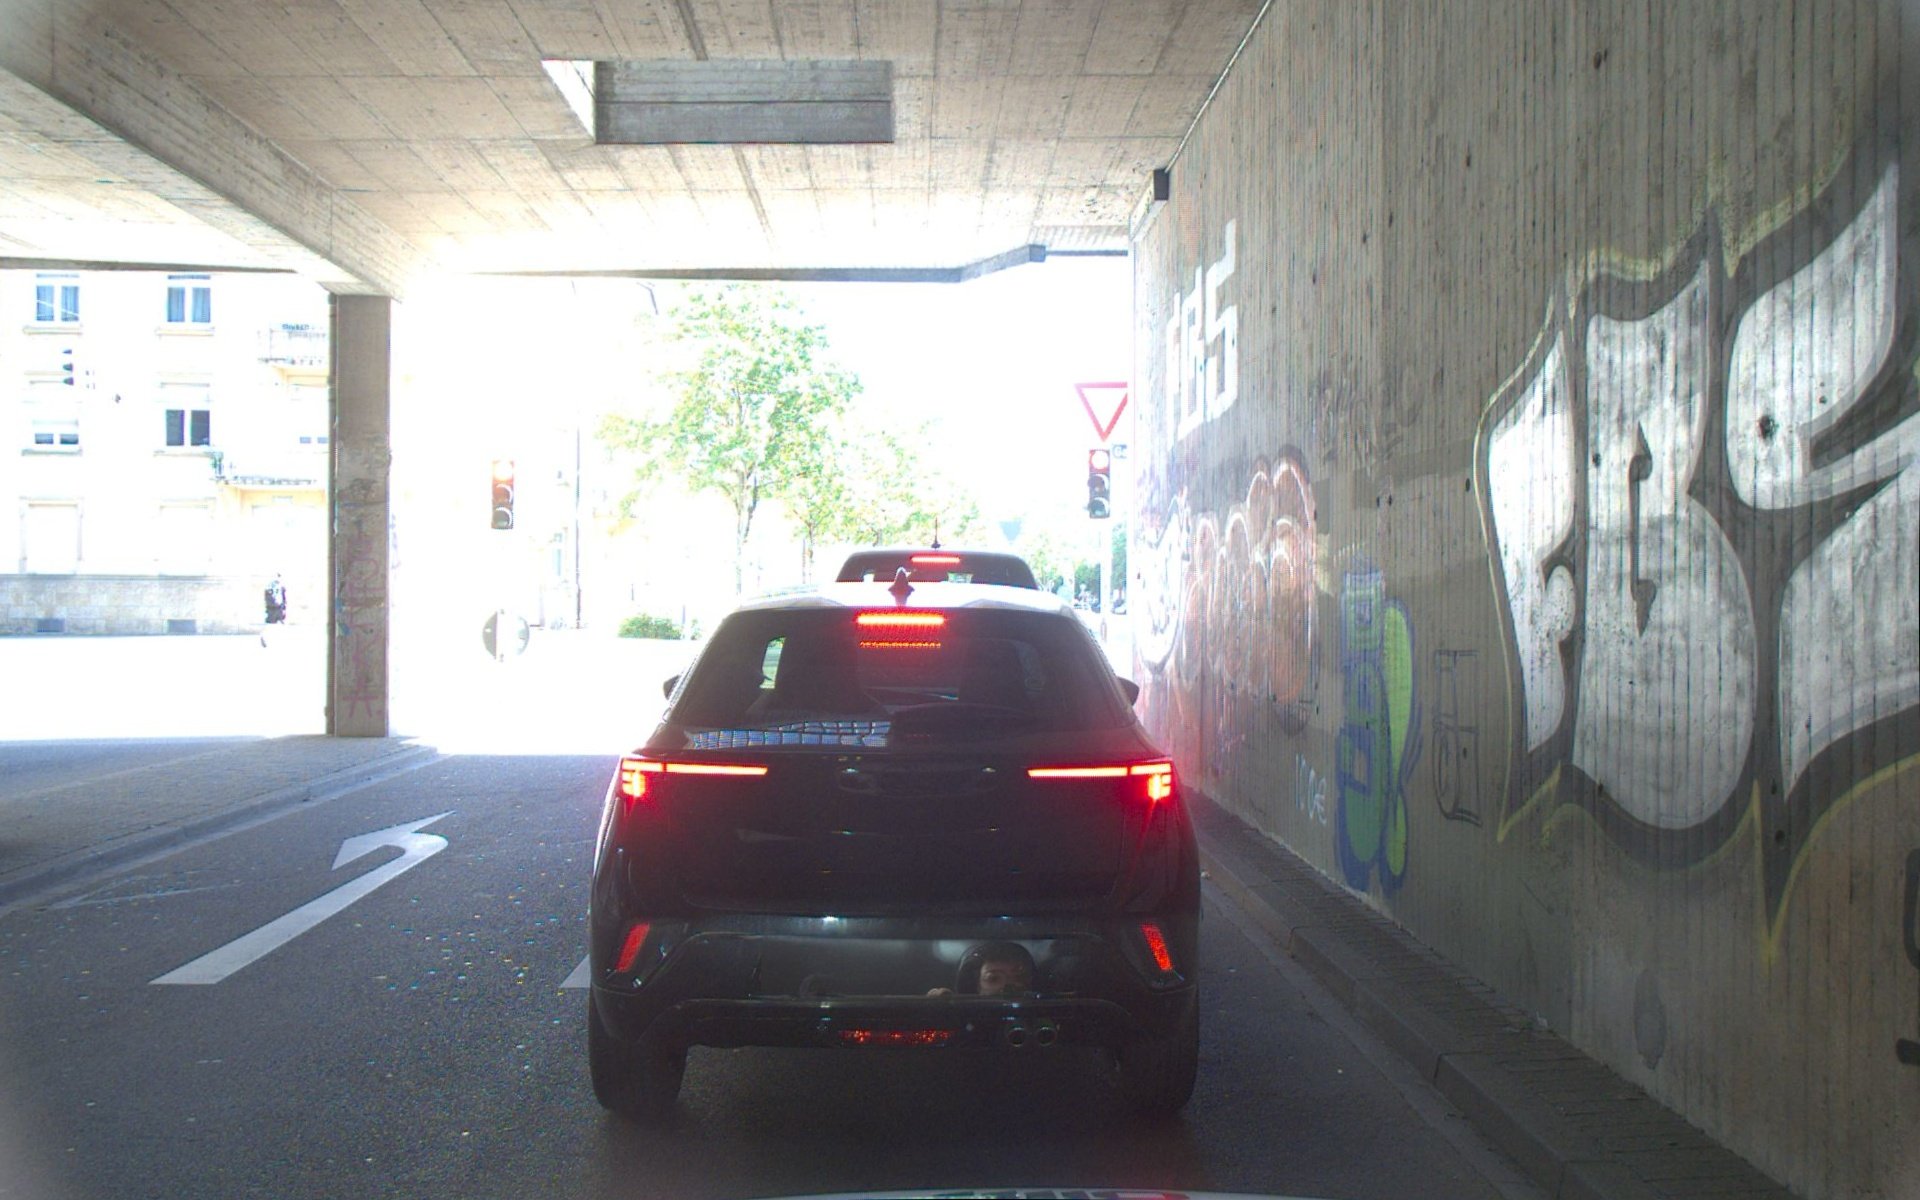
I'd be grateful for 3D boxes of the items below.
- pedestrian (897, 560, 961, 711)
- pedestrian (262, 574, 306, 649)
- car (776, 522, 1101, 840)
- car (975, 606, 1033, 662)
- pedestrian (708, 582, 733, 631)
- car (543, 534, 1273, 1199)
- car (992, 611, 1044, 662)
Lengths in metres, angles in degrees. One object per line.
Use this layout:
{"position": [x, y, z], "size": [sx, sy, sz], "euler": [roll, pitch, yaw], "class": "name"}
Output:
{"position": [-0.373, 0.418, 19.856], "size": [0.716, 1.764, 0.874], "euler": [1, -1, -1], "class": "pedestrian"}
{"position": [-15.419, 0.263, 37.744], "size": [0.658, 1.666, 0.740], "euler": [1, -1, -1], "class": "pedestrian"}
{"position": [-0.155, 0.476, 11.967], "size": [1.953, 1.904, 3.999], "euler": [0, 0, -1], "class": "car"}
{"position": [1.702, 1.259, 62.314], "size": [1.951, 2.004, 4.166], "euler": [1, 0, 4], "class": "car"}
{"position": [-10.628, 0.289, 73.421], "size": [0.873, 2.124, 0.808], "euler": [1, -1, 7], "class": "pedestrian"}
{"position": [-0.151, 0.611, 5.978], "size": [1.729, 1.598, 4.000], "euler": [1, 1, -1], "class": "car"}
{"position": [2.450, 1.496, 68.718], "size": [1.951, 2.004, 4.166], "euler": [1, 0, 4], "class": "car"}
